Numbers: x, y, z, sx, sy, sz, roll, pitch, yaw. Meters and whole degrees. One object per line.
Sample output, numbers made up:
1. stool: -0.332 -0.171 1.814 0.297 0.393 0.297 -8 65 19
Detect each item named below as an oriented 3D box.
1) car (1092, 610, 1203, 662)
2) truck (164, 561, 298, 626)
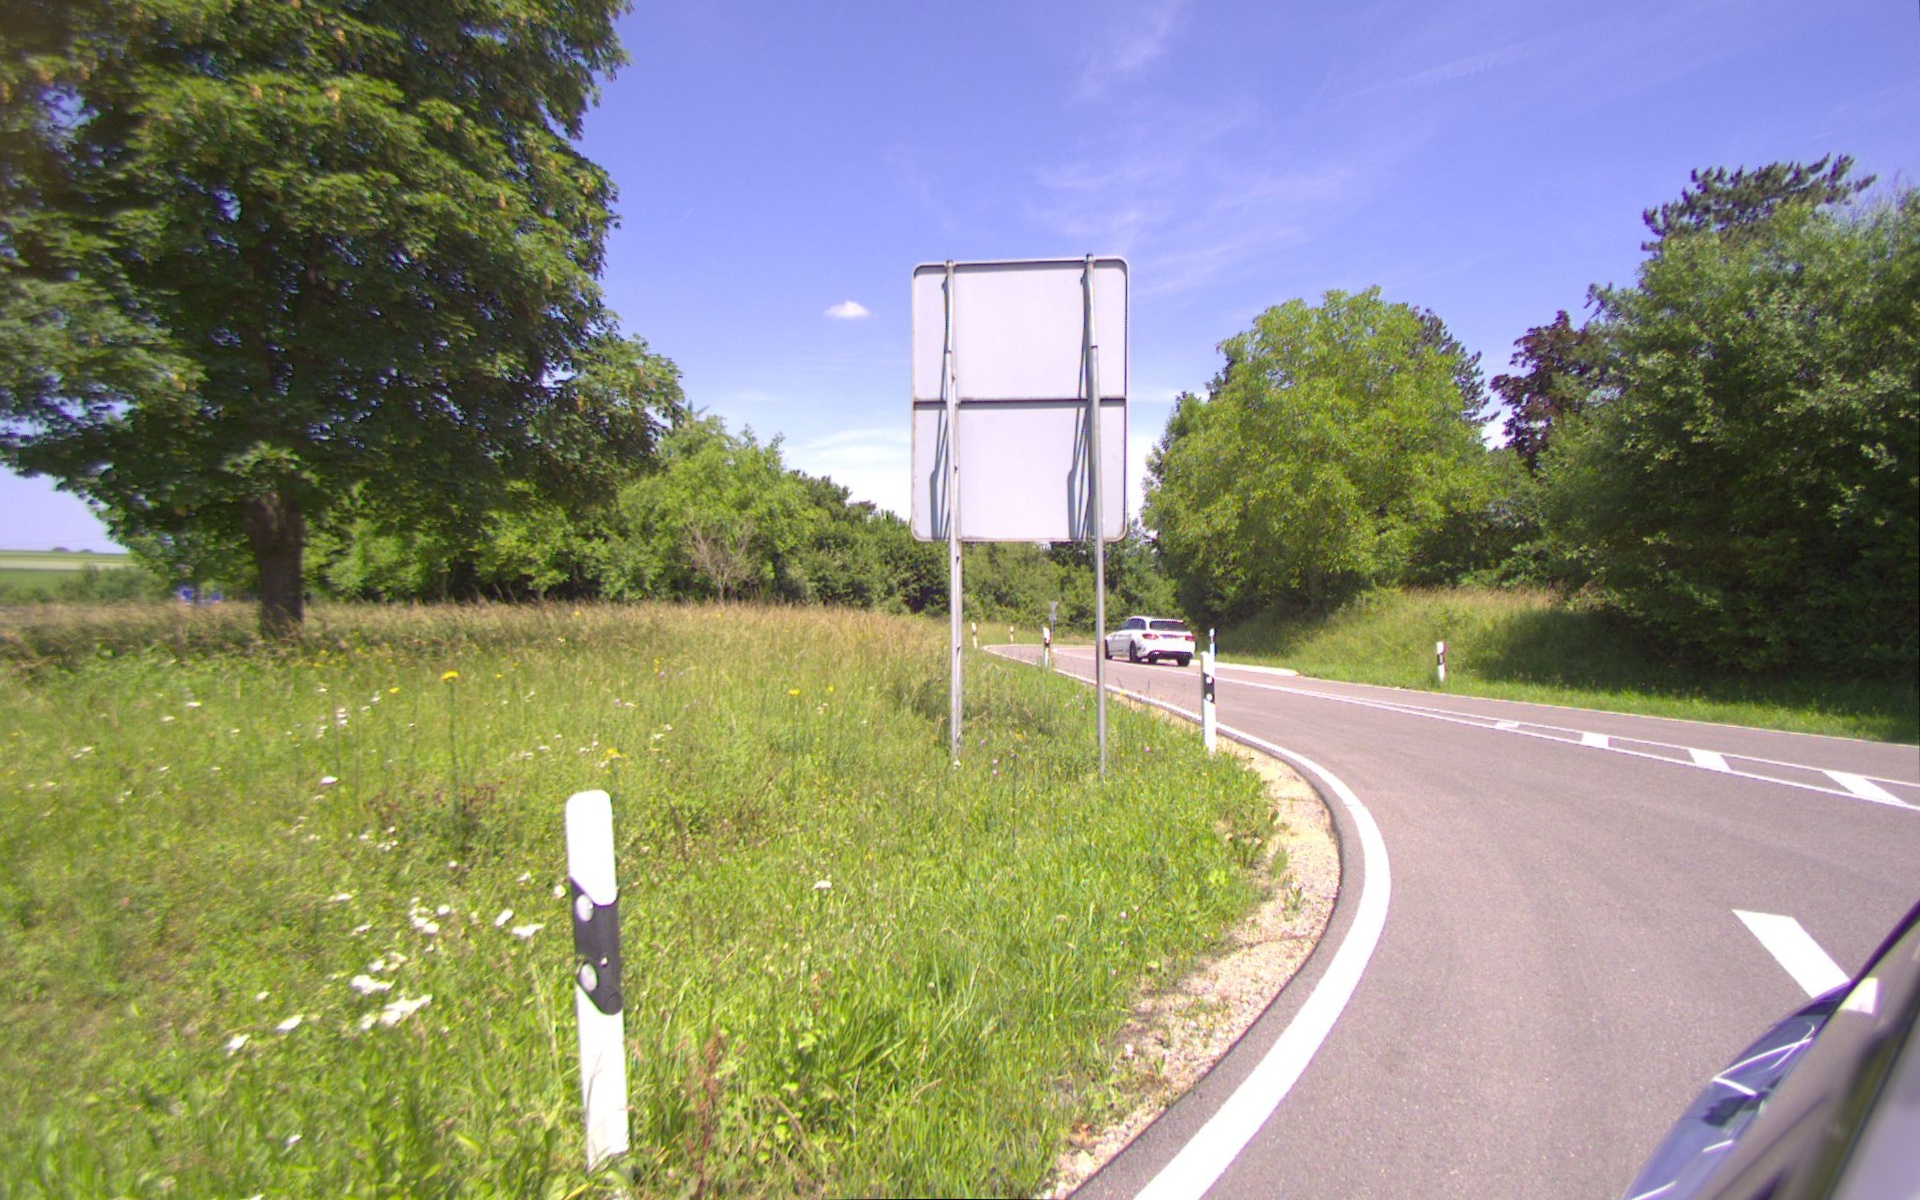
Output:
1. car: 5.805 1.071 32.008 1.773 1.430 5.341 2 -1 -8
2. truck: -53.316 -0.413 74.820 2.792 4.184 16.845 1 0 -17
